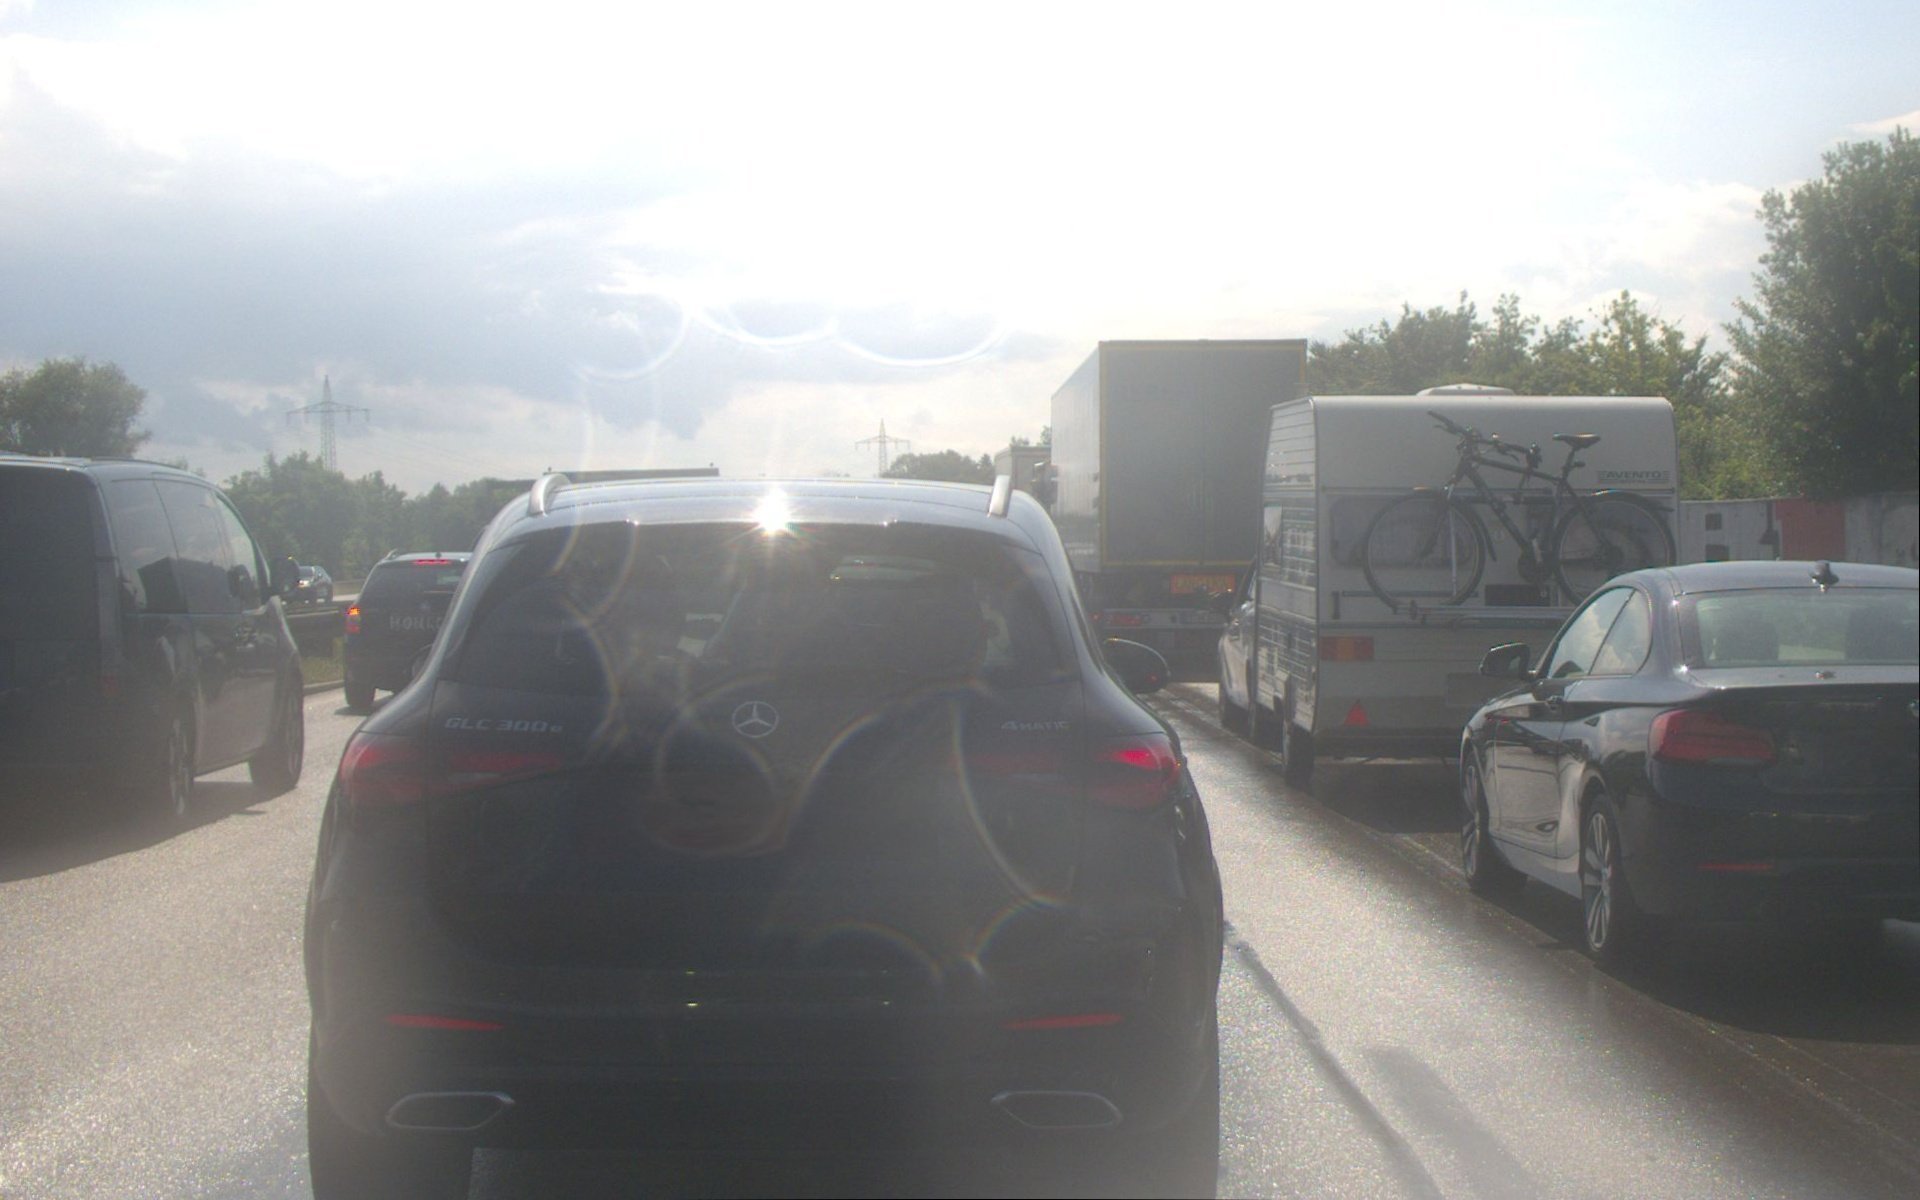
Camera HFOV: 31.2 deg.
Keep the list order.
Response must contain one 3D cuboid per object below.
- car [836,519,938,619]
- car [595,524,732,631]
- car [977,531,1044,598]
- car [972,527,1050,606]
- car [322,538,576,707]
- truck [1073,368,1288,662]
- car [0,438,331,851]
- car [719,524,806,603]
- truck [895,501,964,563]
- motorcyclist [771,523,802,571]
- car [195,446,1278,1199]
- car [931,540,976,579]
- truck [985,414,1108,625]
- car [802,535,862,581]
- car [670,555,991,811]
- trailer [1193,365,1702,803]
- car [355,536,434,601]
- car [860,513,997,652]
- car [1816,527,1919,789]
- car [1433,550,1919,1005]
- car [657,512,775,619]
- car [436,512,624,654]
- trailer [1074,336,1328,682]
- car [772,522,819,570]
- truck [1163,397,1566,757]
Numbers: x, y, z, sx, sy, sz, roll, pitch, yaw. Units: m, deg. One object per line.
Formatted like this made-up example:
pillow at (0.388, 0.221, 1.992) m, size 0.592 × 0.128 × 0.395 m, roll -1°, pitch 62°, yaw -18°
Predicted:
car at (-1.486, -0.660, 71.260) m, size 1.993 × 2.007 × 4.000 m, roll 0°, pitch 1°, yaw 0°
car at (-5.117, -0.407, 59.876) m, size 1.993 × 1.766 × 4.000 m, roll -1°, pitch 1°, yaw 0°
car at (1.609, -1.146, 110.087) m, size 1.993 × 2.007 × 4.000 m, roll 4°, pitch 1°, yaw 0°
car at (1.339, -0.909, 91.746) m, size 1.993 × 2.007 × 4.000 m, roll 2°, pitch 1°, yaw 0°
car at (-4.820, 0.164, 32.942) m, size 1.757 × 1.511 × 4.209 m, roll 0°, pitch 1°, yaw 1°
truck at (3.217, -1.247, 51.378) m, size 2.995 × 4.152 × 5.240 m, roll 0°, pitch 1°, yaw 2°
car at (-5.001, 0.173, 19.340) m, size 1.993 × 2.007 × 5.270 m, roll 0°, pitch 1°, yaw 0°
car at (-5.154, -0.975, 90.218) m, size 1.993 × 2.007 × 4.000 m, roll 1°, pitch 1°, yaw 0°
truck at (-2.107, -4.537, 229.837) m, size 3.842 × 4.003 × 11.223 m, roll 1°, pitch 1°, yaw -4°
motorcyclist at (-6.145, -1.879, 121.857) m, size 1.064 × 1.712 × 0.785 m, roll 0°, pitch 1°, yaw 0°
car at (-0.430, 0.518, 8.541) m, size 1.993 × 1.656 × 4.406 m, roll 0°, pitch 1°, yaw 0°
car at (-0.318, -1.876, 158.837) m, size 1.876 × 1.754 × 4.001 m, roll 1°, pitch 1°, yaw -3°
truck at (2.010, -1.890, 82.704) m, size 2.502 × 4.813 × 7.544 m, roll 1°, pitch 1°, yaw -1°
car at (-4.779, -1.585, 129.118) m, size 1.993 × 1.610 × 4.000 m, roll 4°, pitch 1°, yaw 0°
car at (-0.692, 0.432, 20.845) m, size 1.757 × 1.382 × 3.945 m, roll 0°, pitch 1°, yaw 1°
trailer at (3.007, -0.129, 22.897) m, size 2.374 × 2.475 × 6.523 m, roll 1°, pitch 1°, yaw 0°
car at (-17.839, -0.977, 108.591) m, size 1.993 × 2.007 × 4.000 m, roll 0°, pitch 0°, yaw -2°
car at (-0.476, -0.300, 54.918) m, size 1.993 × 2.007 × 4.000 m, roll 4°, pitch 1°, yaw 0°
car at (6.777, 0.345, 20.814) m, size 1.993 × 1.576 × 4.653 m, roll 0°, pitch 1°, yaw 0°
car at (3.033, 0.545, 13.233) m, size 1.848 × 1.459 × 4.256 m, roll -1°, pitch 1°, yaw 0°
car at (-4.981, -0.715, 70.555) m, size 1.993 × 2.007 × 4.000 m, roll 4°, pitch 1°, yaw 0°
car at (-5.449, -0.230, 43.984) m, size 1.993 × 1.714 × 4.000 m, roll 1°, pitch 1°, yaw -2°
trailer at (3.042, -1.158, 45.720) m, size 3.007 × 4.152 × 8.536 m, roll 0°, pitch 1°, yaw 2°
car at (-7.504, -2.468, 156.669) m, size 1.993 × 2.007 × 4.001 m, roll 4°, pitch 1°, yaw -3°
truck at (2.975, -0.194, 26.724) m, size 2.374 × 2.468 × 5.756 m, roll 1°, pitch 1°, yaw 0°
